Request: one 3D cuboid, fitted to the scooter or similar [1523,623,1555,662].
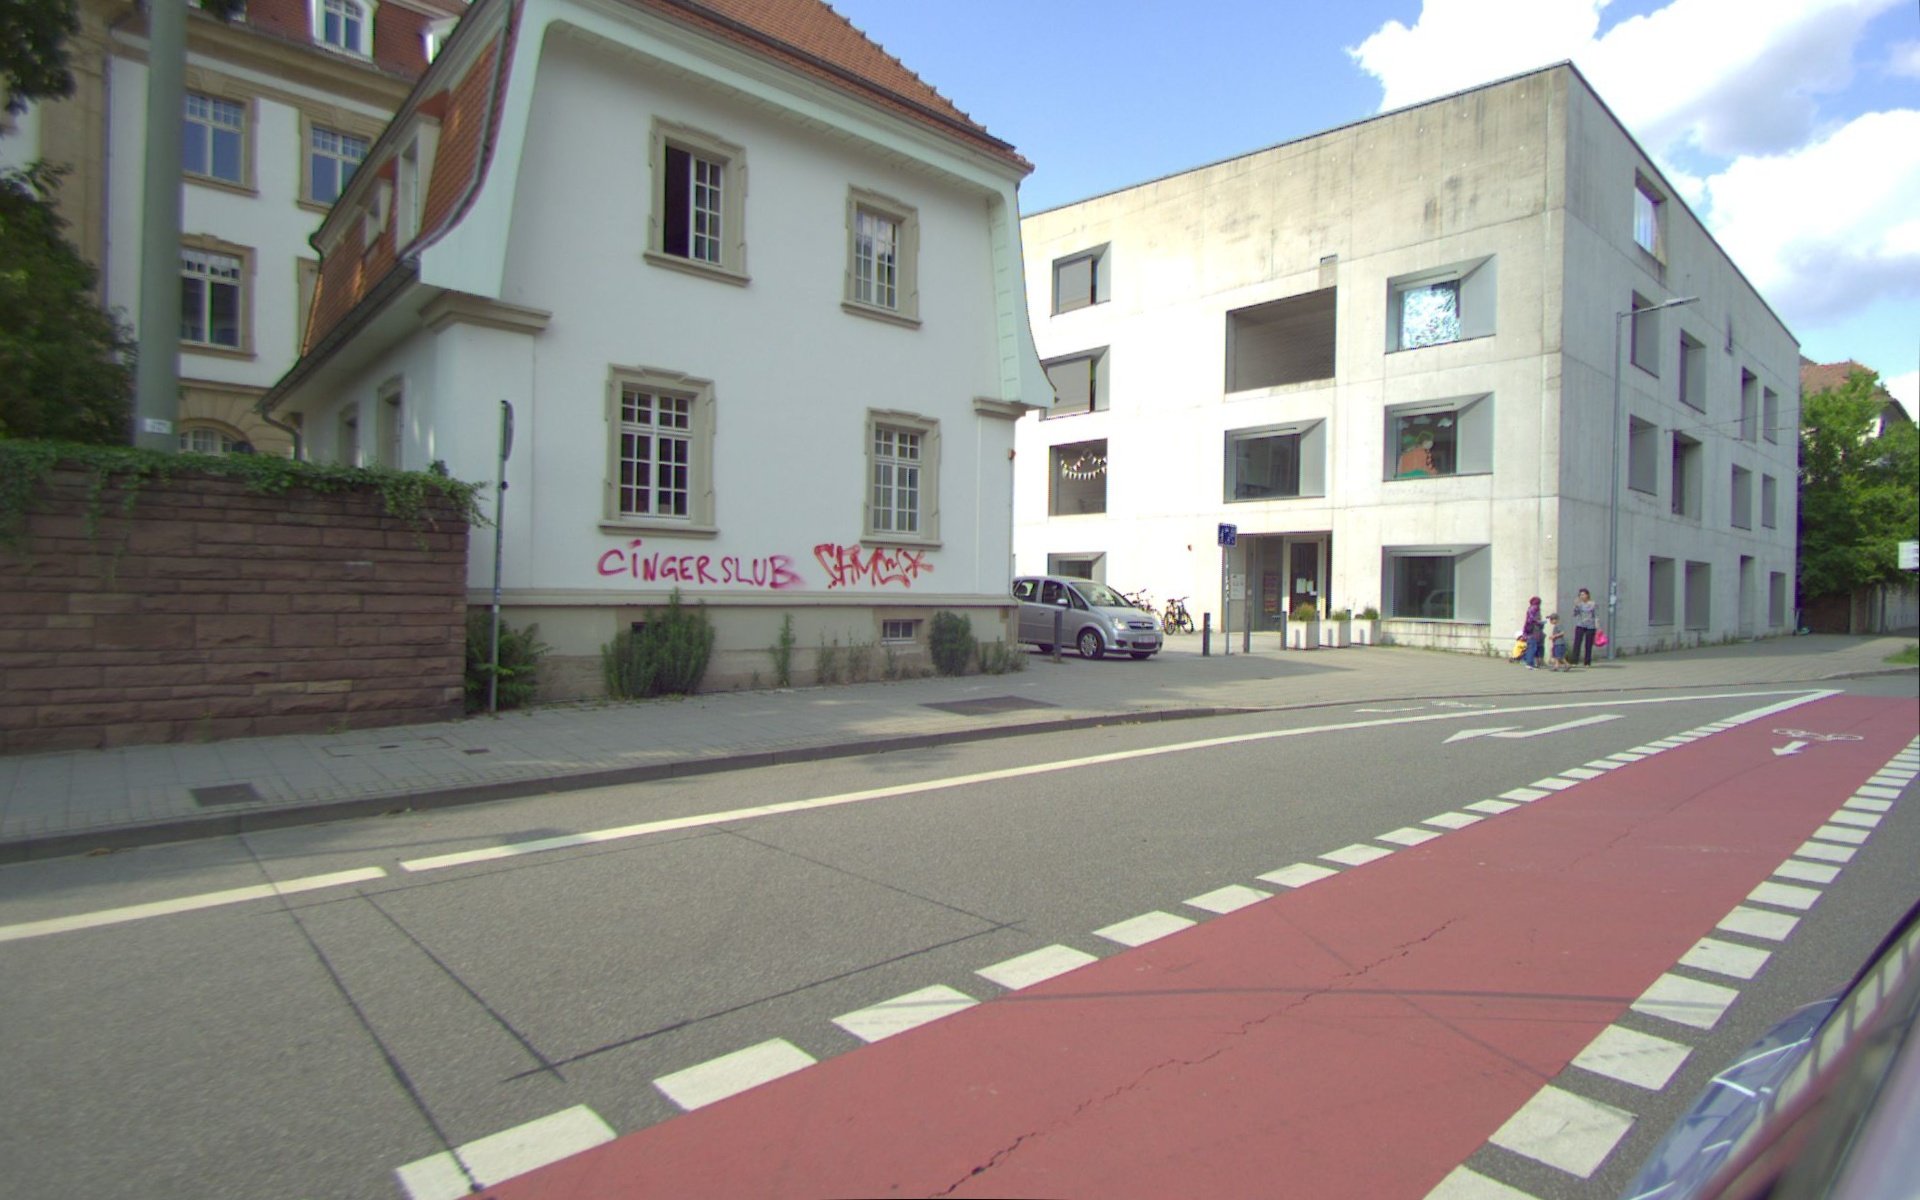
[{"bbox_3d":[12.919,0.938,22.603,0.545,0.810,0.265,5,1,25],"label":"scooter or similar"}]

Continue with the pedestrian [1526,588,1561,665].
[{"bbox_3d":[12.559,0.563,21.778,0.518,1.600,0.541,3,0,38],"label":"pedestrian"}]

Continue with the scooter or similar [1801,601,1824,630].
[{"bbox_3d":[35.053,0.626,41.613,1.125,1.196,0.324,1,0,-29],"label":"scooter or similar"}]

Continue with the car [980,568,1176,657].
[{"bbox_3d":[2.290,0.208,20.494,1.635,1.625,3.889,3,0,-39],"label":"car"}]

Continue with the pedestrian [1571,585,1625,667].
[{"bbox_3d":[14.166,0.564,22.495,0.735,1.746,0.684,3,0,12],"label":"pedestrian"}]

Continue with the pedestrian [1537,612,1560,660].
[{"bbox_3d":[12.950,0.792,22.261,0.342,1.023,0.391,3,0,39],"label":"pedestrian"}]

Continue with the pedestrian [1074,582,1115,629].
[{"bbox_3d":[3.550,0.141,26.825,0.856,1.216,0.912,1,1,-6],"label":"pedestrian"}]

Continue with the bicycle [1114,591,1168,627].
[{"bbox_3d":[5.458,0.256,30.437,0.699,1.030,1.790,3,1,44],"label":"bicycle"}]

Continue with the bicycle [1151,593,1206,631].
[{"bbox_3d":[6.386,0.346,29.487,0.699,1.030,1.790,3,1,44],"label":"bicycle"}]

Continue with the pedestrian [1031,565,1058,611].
[{"bbox_3d":[2.285,-0.328,27.295,0.583,1.216,0.526,1,0,21],"label":"pedestrian"}]

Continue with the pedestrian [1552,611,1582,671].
[{"bbox_3d":[12.759,0.857,21.274,0.421,1.216,0.399,3,0,44],"label":"pedestrian"}]
